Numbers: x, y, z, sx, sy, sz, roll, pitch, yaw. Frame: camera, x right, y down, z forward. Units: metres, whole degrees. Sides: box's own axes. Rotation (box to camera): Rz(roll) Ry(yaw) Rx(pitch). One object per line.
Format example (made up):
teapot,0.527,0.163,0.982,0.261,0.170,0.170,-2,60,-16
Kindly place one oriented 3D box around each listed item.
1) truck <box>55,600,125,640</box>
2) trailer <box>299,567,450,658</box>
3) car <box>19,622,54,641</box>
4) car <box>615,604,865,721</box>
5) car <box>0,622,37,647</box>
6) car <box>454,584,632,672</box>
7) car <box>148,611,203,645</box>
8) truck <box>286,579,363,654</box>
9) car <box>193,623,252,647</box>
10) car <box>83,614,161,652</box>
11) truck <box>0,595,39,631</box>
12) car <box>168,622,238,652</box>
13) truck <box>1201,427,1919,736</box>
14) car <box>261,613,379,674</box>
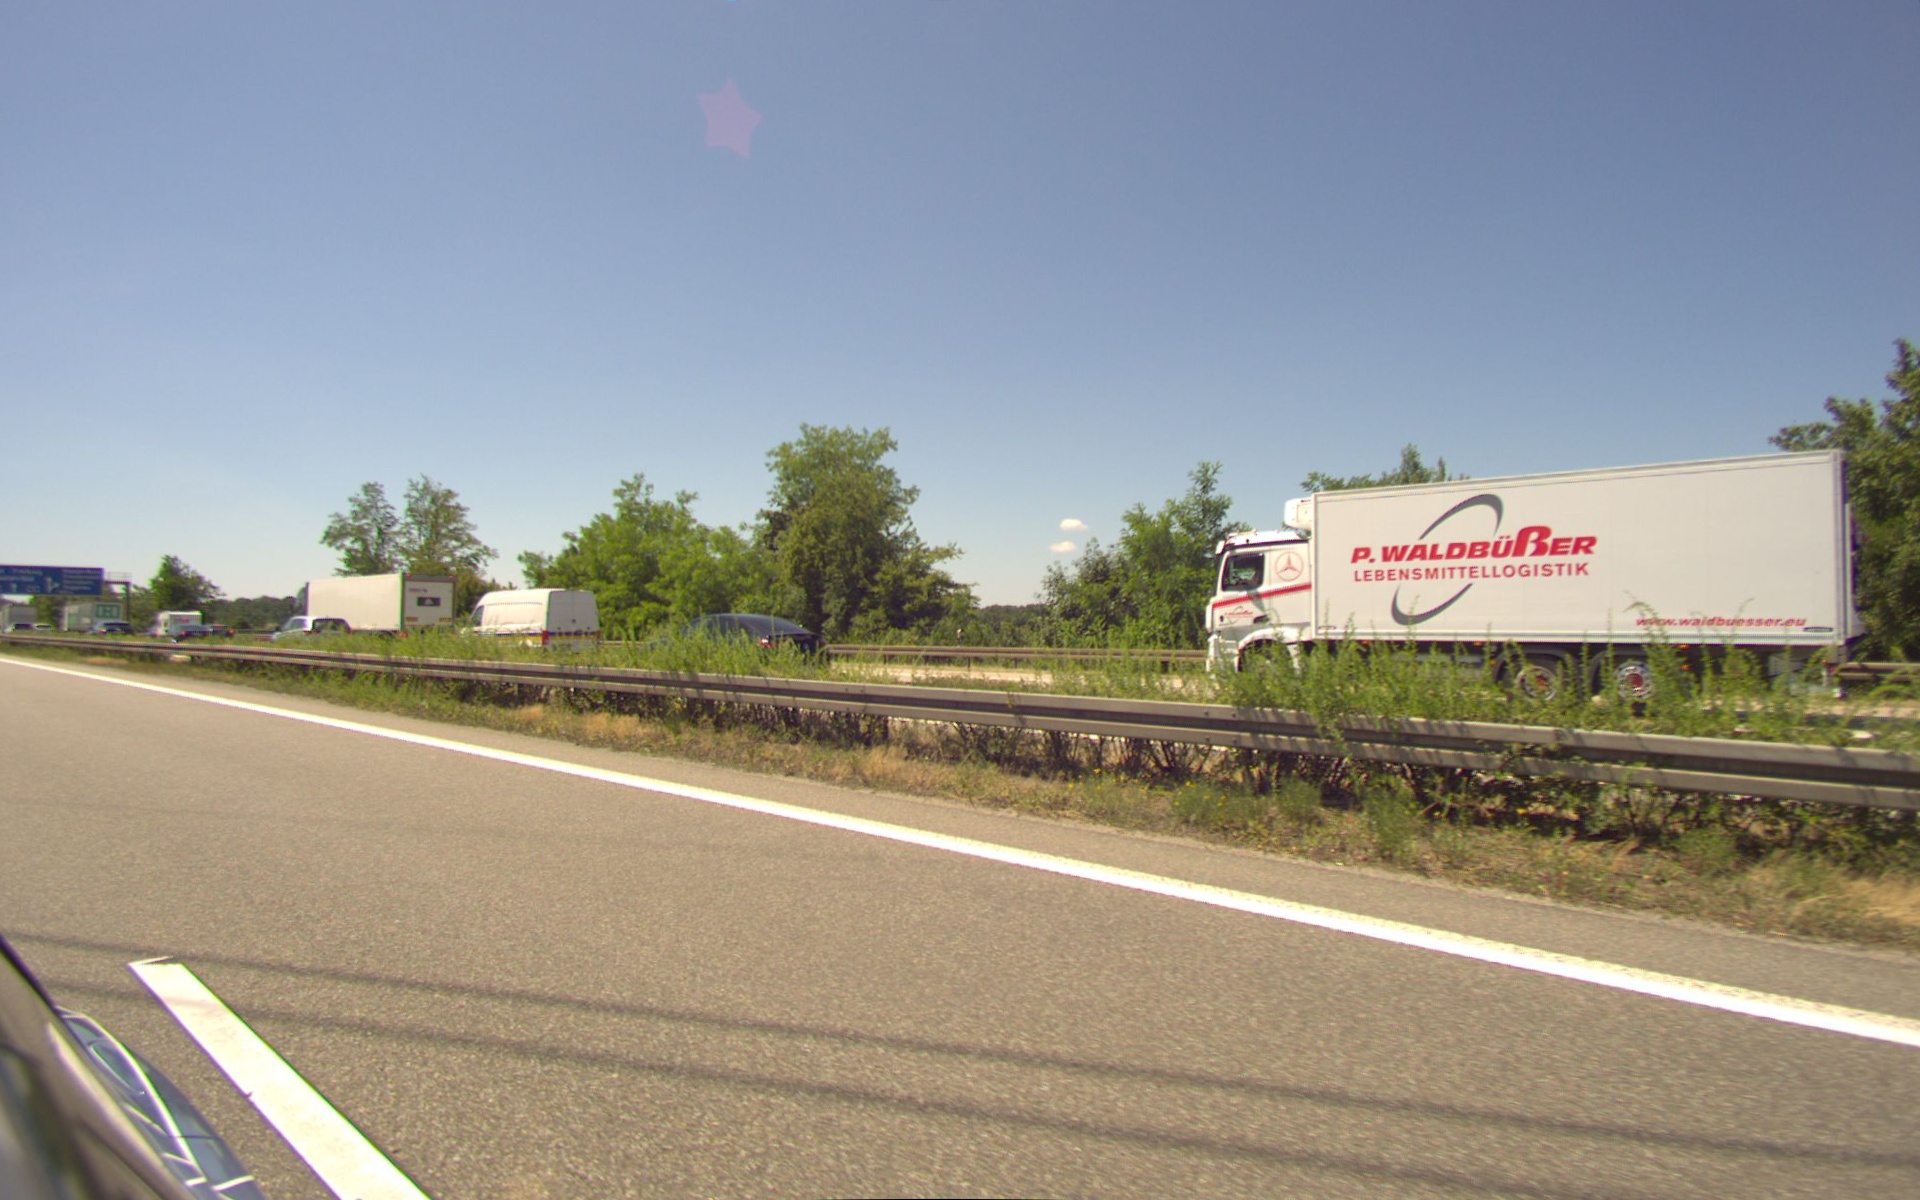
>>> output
truck,-91.236,2.126,105.941,17.006,3.831,3.210,-2,0,42
trailer,-31.416,0.723,53.797,14.425,4.322,2.398,-2,0,41
car,-94.118,3.215,103.131,5.105,1.845,2.053,-2,-3,41
car,-4.623,1.177,20.574,5.699,2.029,1.972,-2,0,42
car,-83.176,3.011,89.166,4.555,2.029,2.274,-2,0,41
car,-13.774,0.889,33.123,7.118,2.599,2.457,-2,0,41
car,-63.868,2.283,82.361,5.713,2.635,2.393,-2,-3,41
truck,-36.759,0.930,58.480,4.917,4.142,2.398,-2,0,41
car,-53.900,2.566,73.905,4.748,1.649,2.457,-2,-3,41
car,-47.116,1.845,56.834,5.736,1.946,2.457,-2,0,41
truck,-109.668,1.478,117.653,9.492,3.948,2.826,0,1,42
car,-45.270,2.192,60.505,4.817,1.652,2.362,-2,0,41
truck,9.589,-0.162,17.219,10.587,3.979,2.664,-2,0,41
car,-23.587,1.557,37.253,4.555,2.029,2.457,-2,0,41
